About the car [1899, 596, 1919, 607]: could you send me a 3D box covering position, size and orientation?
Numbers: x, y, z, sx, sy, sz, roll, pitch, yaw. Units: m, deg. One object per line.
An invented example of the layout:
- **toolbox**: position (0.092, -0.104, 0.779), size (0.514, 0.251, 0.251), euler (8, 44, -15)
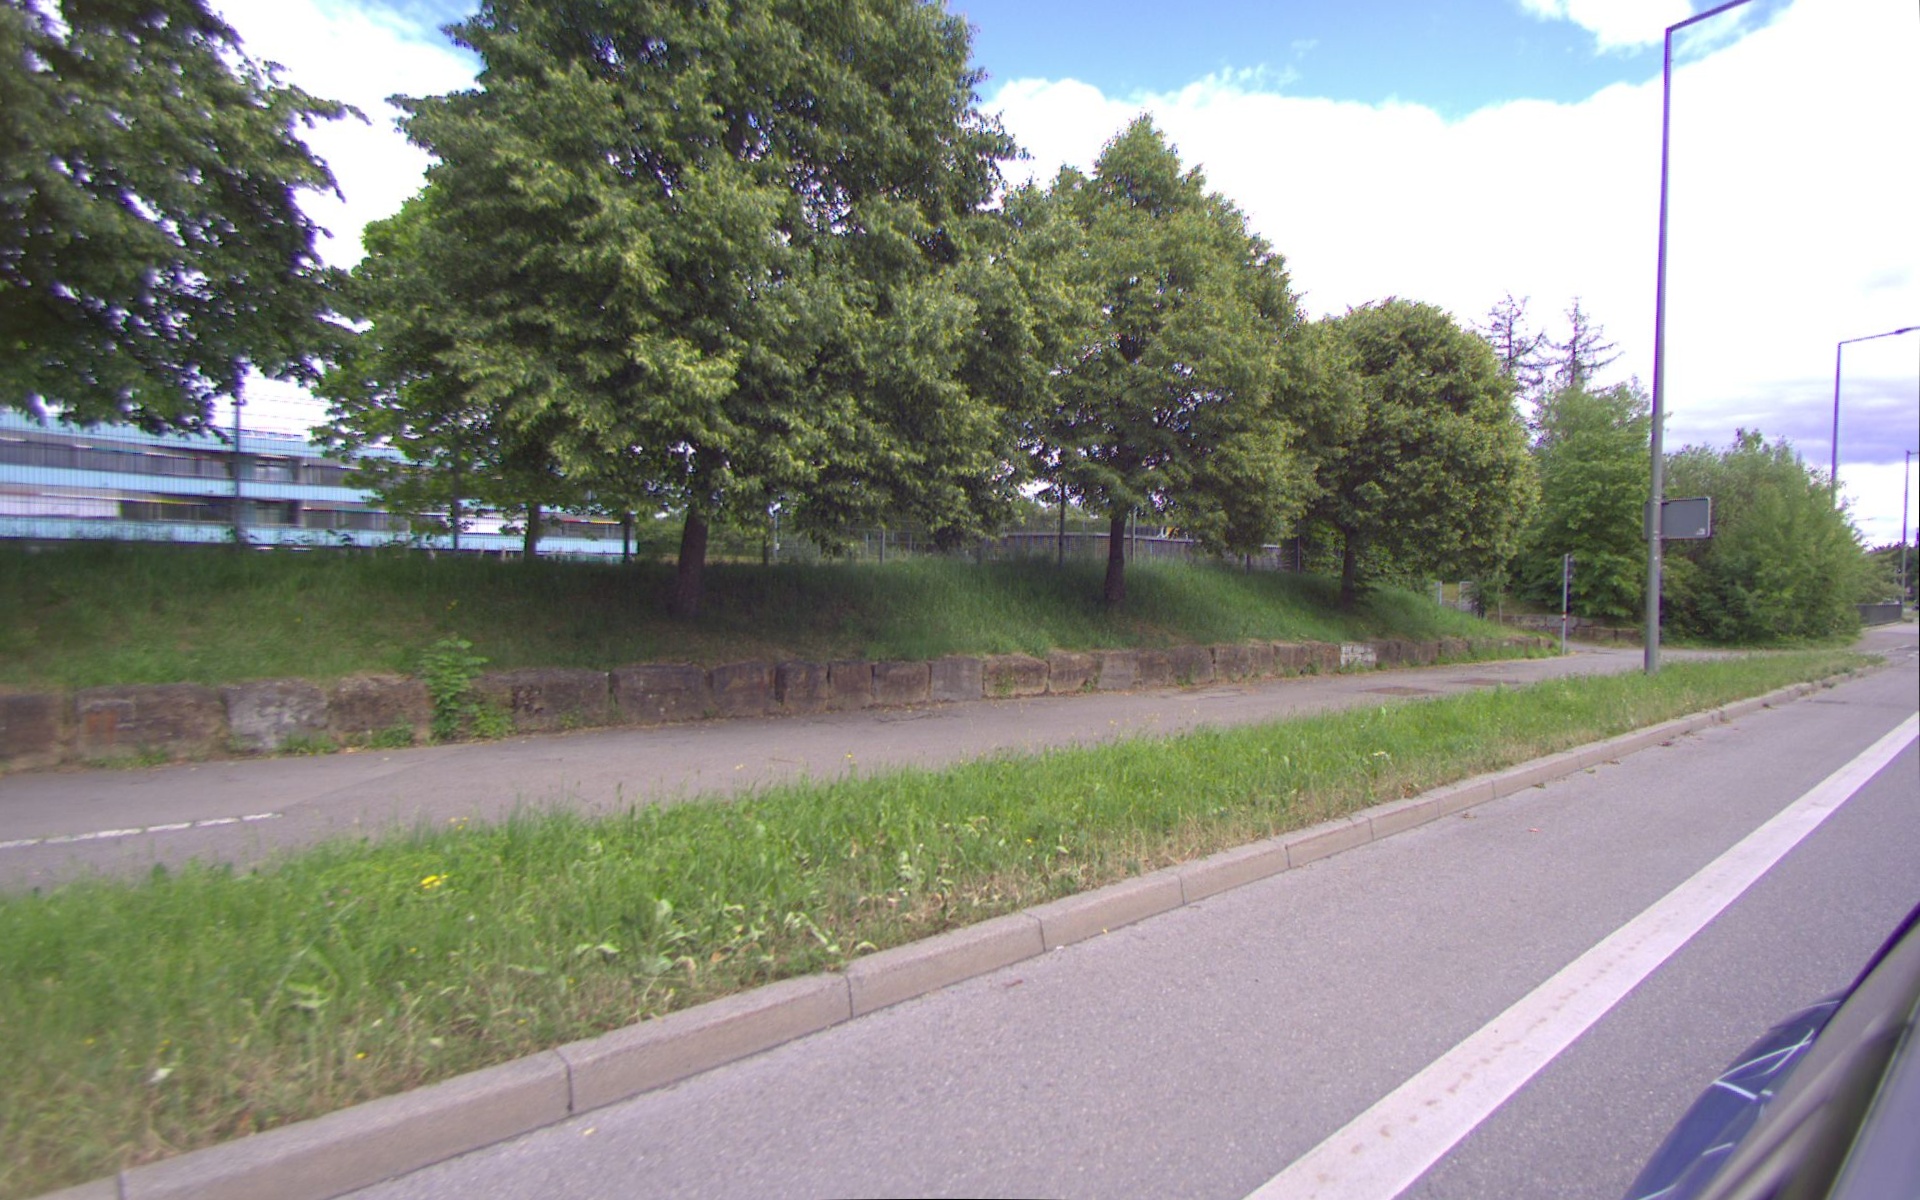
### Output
- **car**: position (124.755, 0.194, 132.730), size (1.725, 1.459, 4.314), euler (1, 1, 35)
